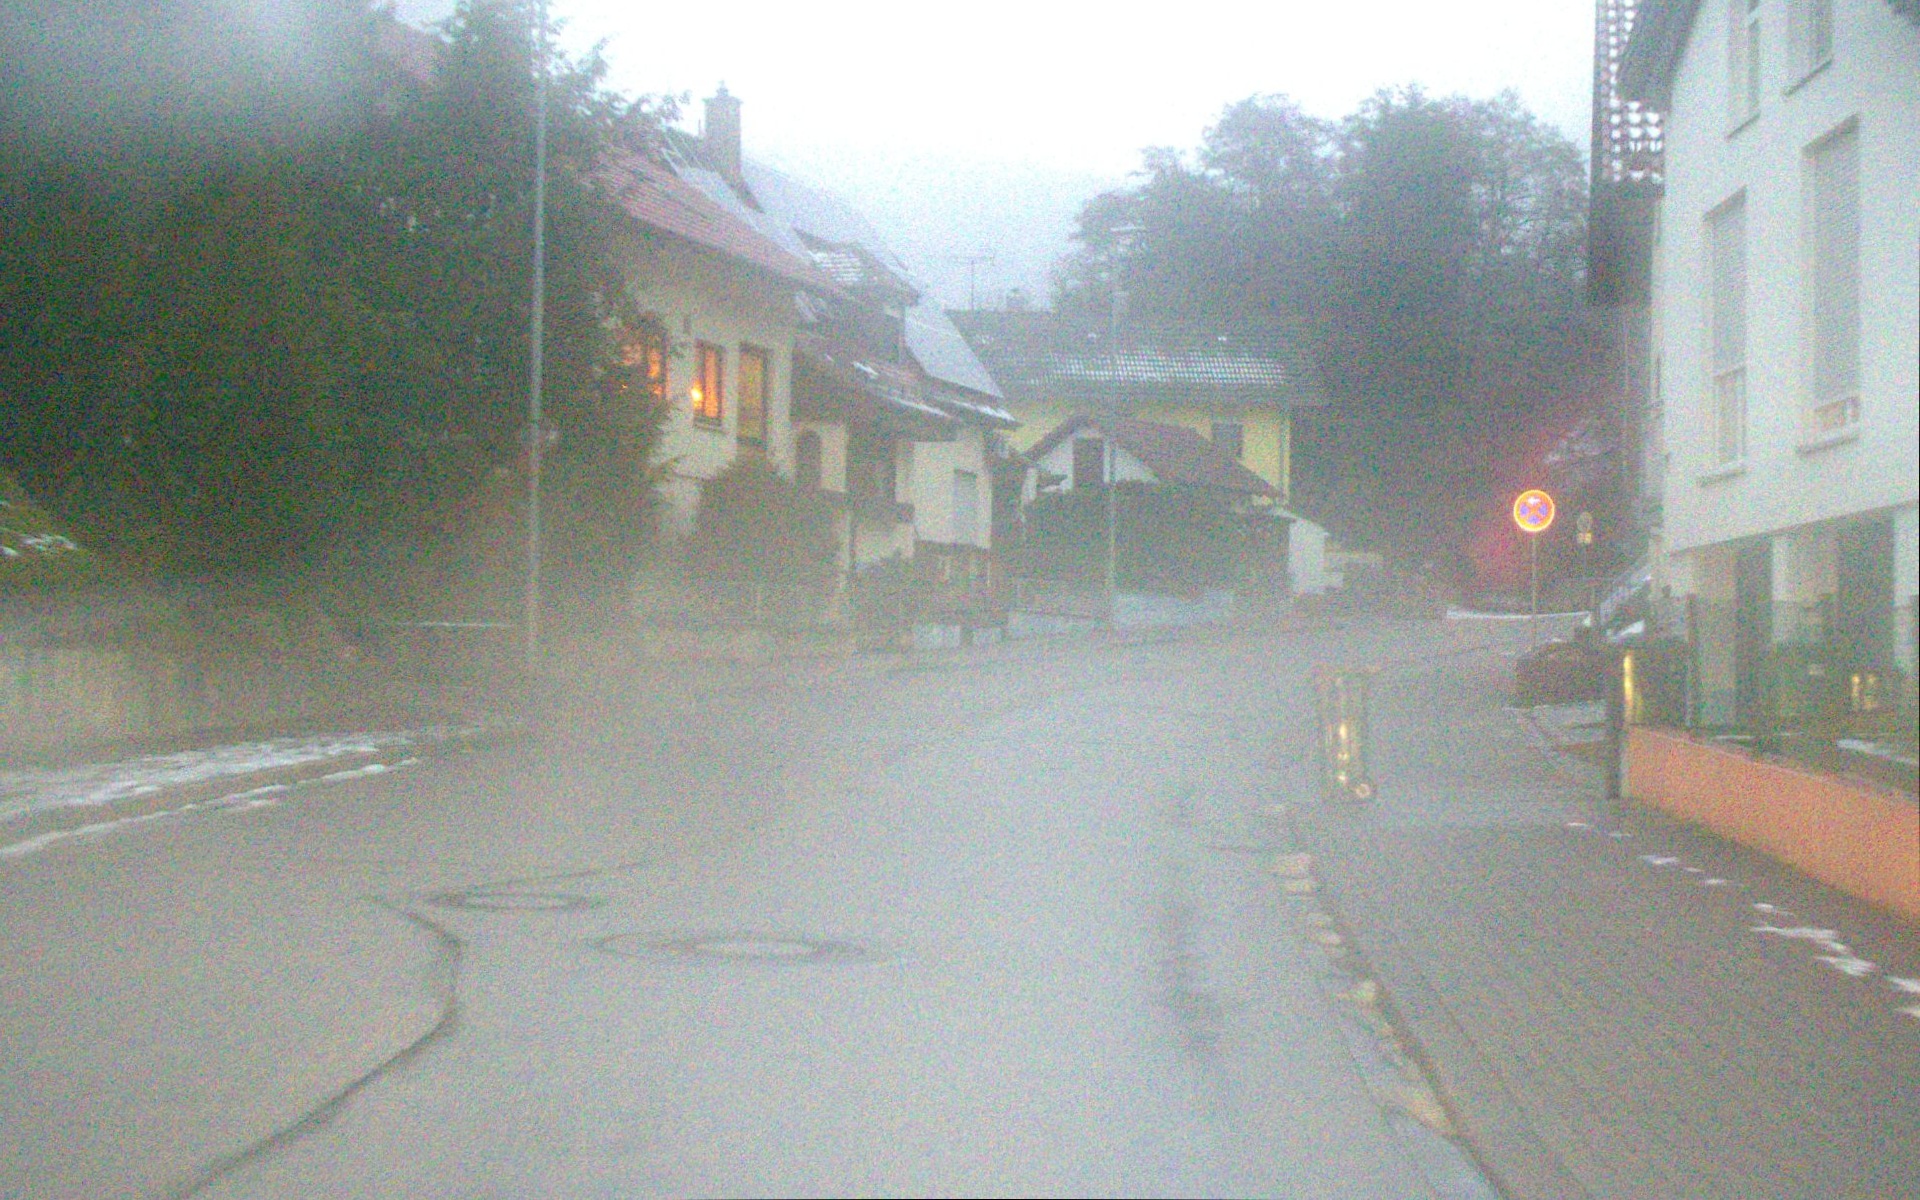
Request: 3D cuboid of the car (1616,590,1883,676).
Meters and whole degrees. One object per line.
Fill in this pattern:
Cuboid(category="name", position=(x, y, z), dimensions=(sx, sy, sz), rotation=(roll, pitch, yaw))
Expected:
Cuboid(category="car", position=(13.930, 0.575, 60.594), dimensions=(4.508, 1.439, 1.999), rotation=(-1, 1, 15))

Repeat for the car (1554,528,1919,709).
Cuboid(category="car", position=(8.661, 0.166, 36.849), dimensions=(4.281, 1.452, 1.779), rotation=(-7, -1, 7))

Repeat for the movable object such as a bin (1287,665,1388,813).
Cuboid(category="movable object such as a bin", position=(2.504, 0.915, 22.835), dimensions=(0.614, 0.943, 0.594), rotation=(-3, -1, 6))
